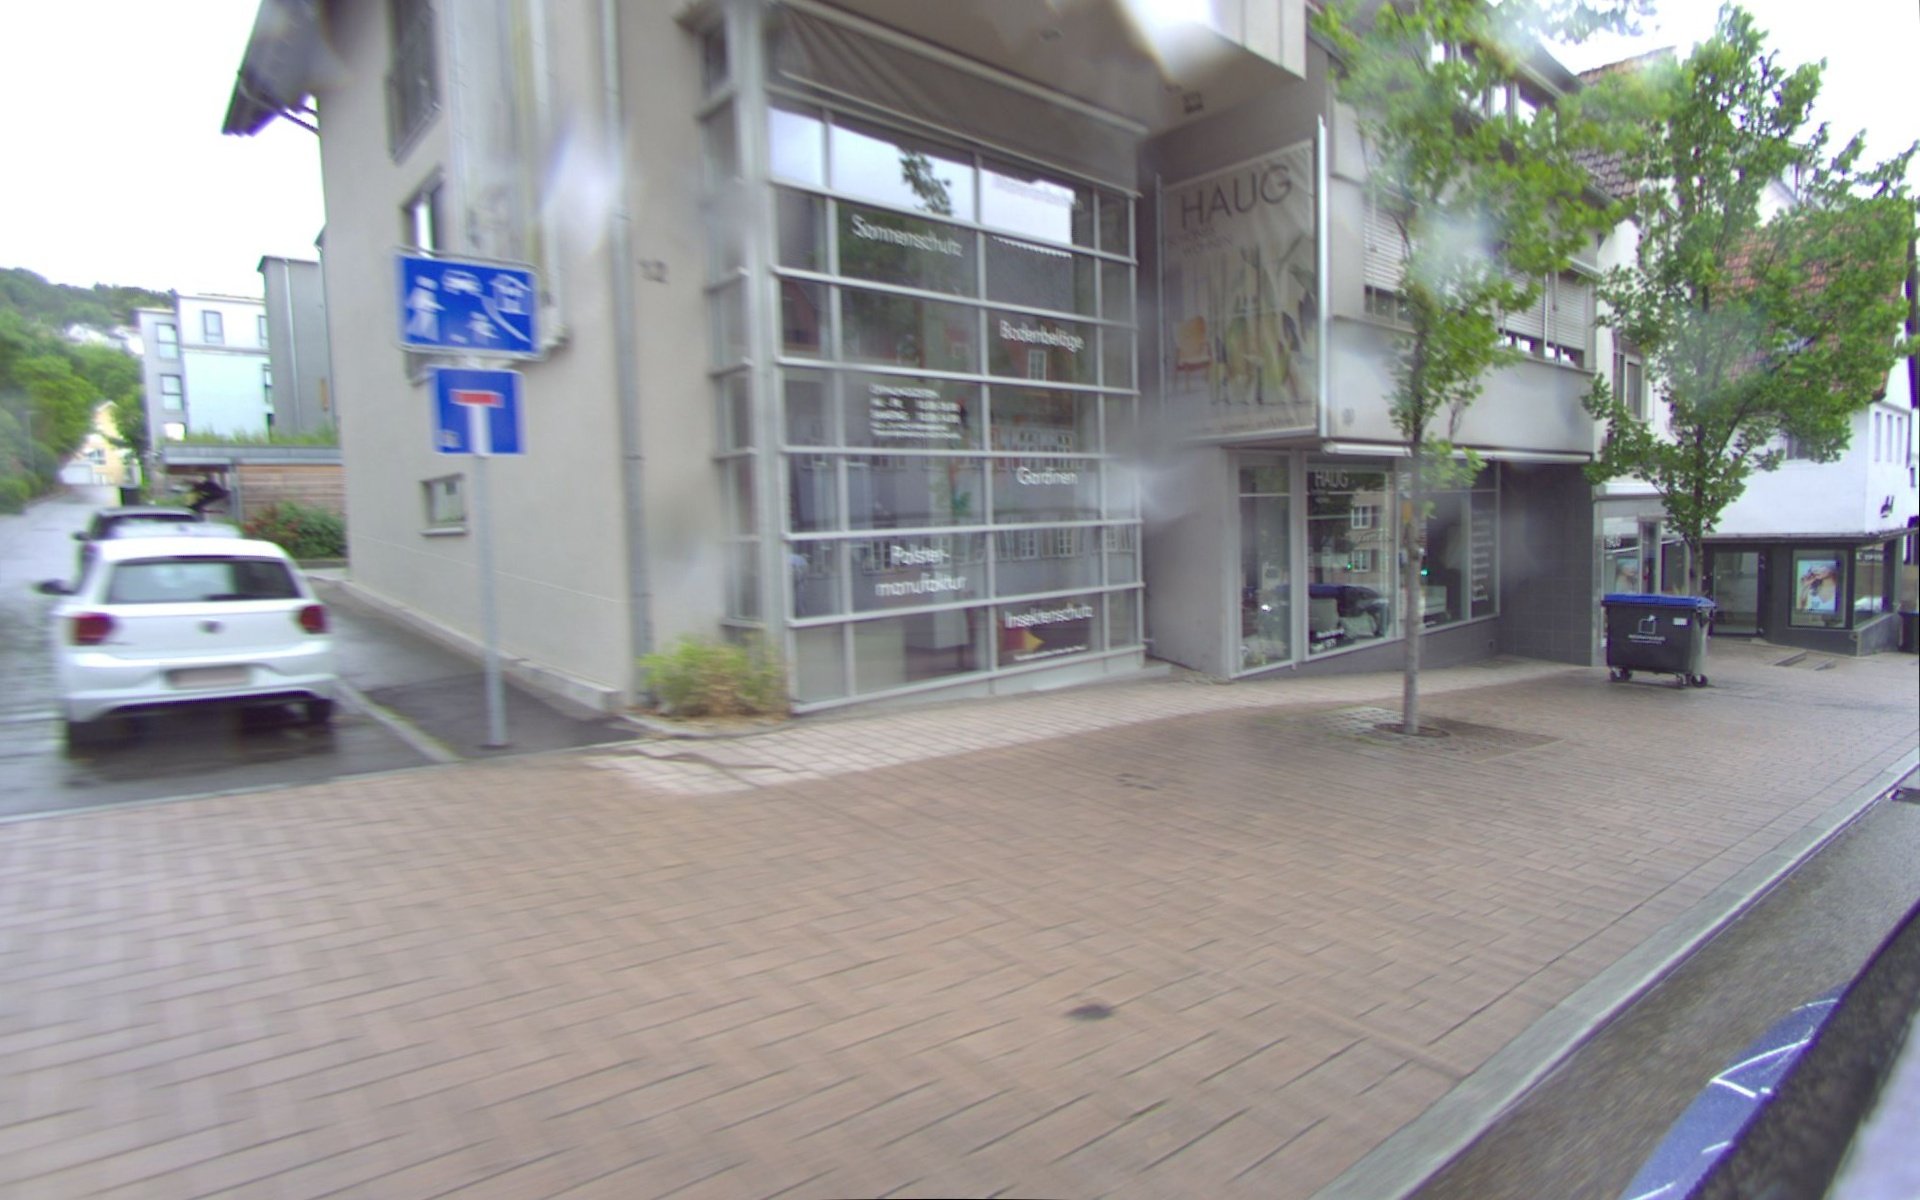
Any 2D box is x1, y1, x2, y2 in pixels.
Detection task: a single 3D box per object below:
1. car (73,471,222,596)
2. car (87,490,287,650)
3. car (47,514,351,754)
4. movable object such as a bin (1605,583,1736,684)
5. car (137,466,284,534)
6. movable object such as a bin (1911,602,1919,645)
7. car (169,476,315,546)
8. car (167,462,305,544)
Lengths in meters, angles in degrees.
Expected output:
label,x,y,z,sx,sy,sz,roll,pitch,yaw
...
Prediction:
label,x,y,z,sx,sy,sz,roll,pitch,yaw
car,-13.056,-1.117,16.177,1.675,1.726,3.772,0,6,-41
car,-9.521,-0.458,12.354,1.675,1.561,3.772,0,6,-41
car,-6.536,0.086,8.582,1.714,1.471,3.771,-1,6,-41
movable object such as a bin,10.403,0.458,14.830,1.151,1.351,1.238,1,3,-39
car,-26.277,-3.459,35.632,4.057,2.038,1.828,0,2,-37
movable object such as a bin,23.791,0.605,24.721,0.561,1.040,0.468,3,3,9
car,-21.245,-2.578,30.010,3.414,1.841,1.521,0,1,-41
car,-22.765,-2.986,31.882,3.414,2.315,1.521,0,1,-41
